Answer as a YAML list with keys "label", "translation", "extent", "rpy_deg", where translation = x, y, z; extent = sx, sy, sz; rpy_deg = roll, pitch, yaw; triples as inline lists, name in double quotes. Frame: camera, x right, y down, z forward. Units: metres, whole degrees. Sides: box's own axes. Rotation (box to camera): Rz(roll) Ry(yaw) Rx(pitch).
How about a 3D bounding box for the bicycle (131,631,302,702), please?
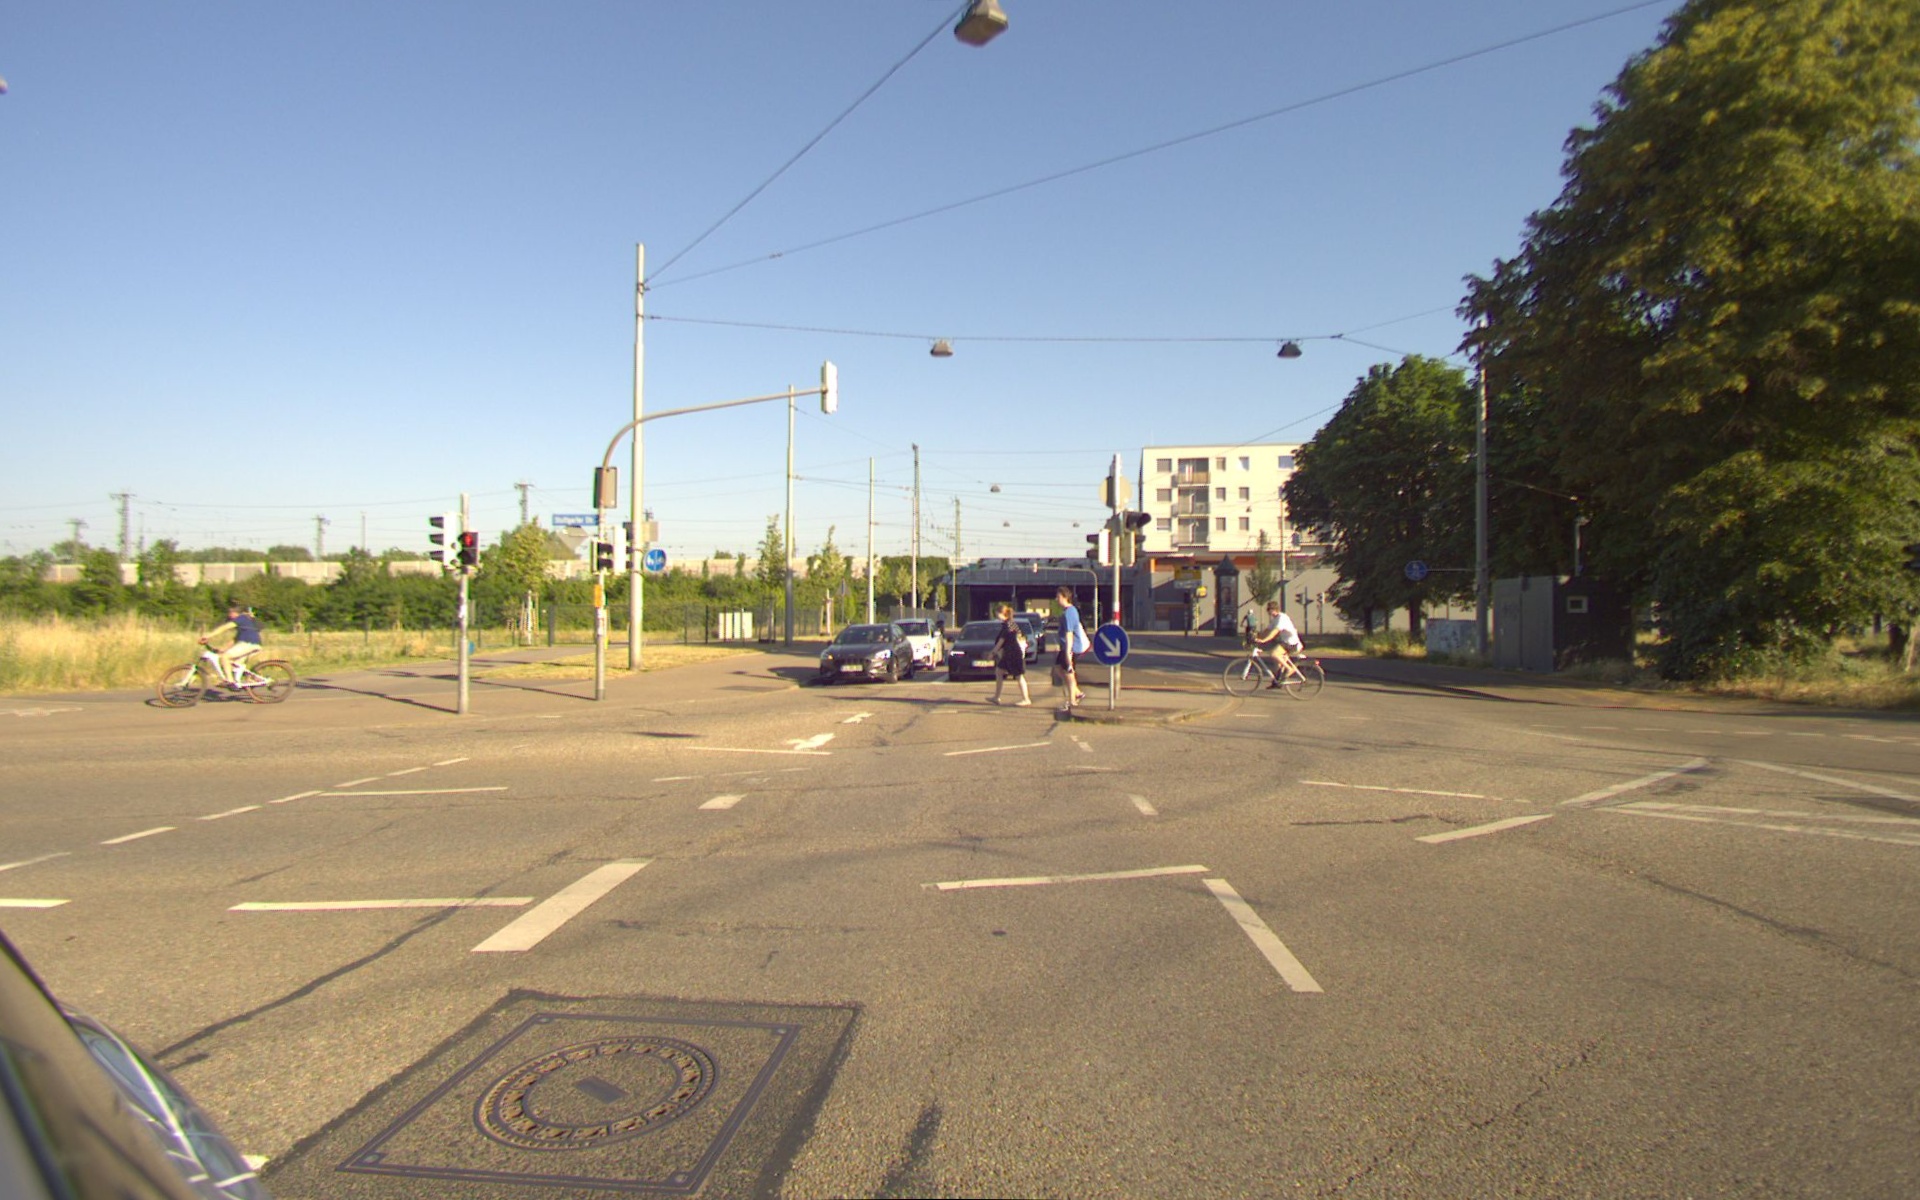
- label: "bicycle"
  translation: [-12.825, 1.125, 17.541]
  extent: [2.253, 1.158, 0.795]
  rpy_deg: [0, -1, -19]

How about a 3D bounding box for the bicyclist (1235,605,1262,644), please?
- label: "bicyclist"
  translation: [11.773, 0.989, 41.336]
  extent: [0.687, 1.543, 1.039]
  rpy_deg: [0, -1, -6]

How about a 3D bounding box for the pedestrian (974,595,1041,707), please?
- label: "pedestrian"
  translation: [0.767, 0.812, 16.452]
  extent: [1.054, 1.760, 0.914]
  rpy_deg: [0, -1, 4]

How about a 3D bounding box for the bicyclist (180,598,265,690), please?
- label: "bicyclist"
  translation: [-12.862, 0.751, 17.688]
  extent: [1.004, 1.559, 0.855]
  rpy_deg: [0, -1, -21]

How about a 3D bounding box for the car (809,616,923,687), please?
- label: "car"
  translation: [-2.219, 1.199, 24.989]
  extent: [1.976, 1.579, 4.266]
  rpy_deg: [-1, -1, 6]

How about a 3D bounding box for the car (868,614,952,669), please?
- label: "car"
  translation: [-1.471, 1.244, 31.584]
  extent: [1.976, 1.579, 4.266]
  rpy_deg: [0, -1, 6]

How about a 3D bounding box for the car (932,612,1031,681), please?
- label: "car"
  translation: [0.639, 1.102, 25.478]
  extent: [2.030, 1.579, 4.440]
  rpy_deg: [0, -1, 8]

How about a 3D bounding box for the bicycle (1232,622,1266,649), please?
- label: "bicycle"
  translation: [11.775, 1.425, 41.312]
  extent: [0.653, 1.077, 2.021]
  rpy_deg: [0, -1, -6]

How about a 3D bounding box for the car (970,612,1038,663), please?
- label: "car"
  translation: [1.543, 1.193, 33.618]
  extent: [1.976, 1.579, 4.447]
  rpy_deg: [0, -1, 6]

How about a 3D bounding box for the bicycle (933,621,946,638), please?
- label: "bicycle"
  translation: [-1.348, 1.946, 66.248]
  extent: [0.655, 1.077, 2.016]
  rpy_deg: [0, -1, 5]

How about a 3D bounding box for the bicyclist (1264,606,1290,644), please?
- label: "bicyclist"
  translation: [13.006, 1.011, 41.492]
  extent: [0.651, 1.543, 1.038]
  rpy_deg: [0, -1, -5]

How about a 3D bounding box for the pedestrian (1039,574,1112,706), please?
- label: "pedestrian"
  translation: [1.737, 0.600, 15.383]
  extent: [1.054, 1.939, 0.914]
  rpy_deg: [0, -1, 4]

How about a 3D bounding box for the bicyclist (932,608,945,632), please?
- label: "bicyclist"
  translation: [-1.426, 1.308, 66.241]
  extent: [0.767, 1.618, 0.856]
  rpy_deg: [0, -1, 5]

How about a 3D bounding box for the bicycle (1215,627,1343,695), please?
- label: "bicycle"
  translation: [5.882, 1.115, 18.768]
  extent: [2.177, 1.151, 0.698]
  rpy_deg: [1, -1, 10]

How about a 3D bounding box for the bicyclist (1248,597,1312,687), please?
- label: "bicyclist"
  translation: [5.916, 0.771, 18.764]
  extent: [1.030, 1.641, 0.711]
  rpy_deg: [0, -1, 11]

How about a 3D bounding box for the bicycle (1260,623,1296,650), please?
- label: "bicycle"
  translation: [13.011, 1.475, 41.499]
  extent: [0.653, 1.077, 2.022]
  rpy_deg: [0, -1, -6]
